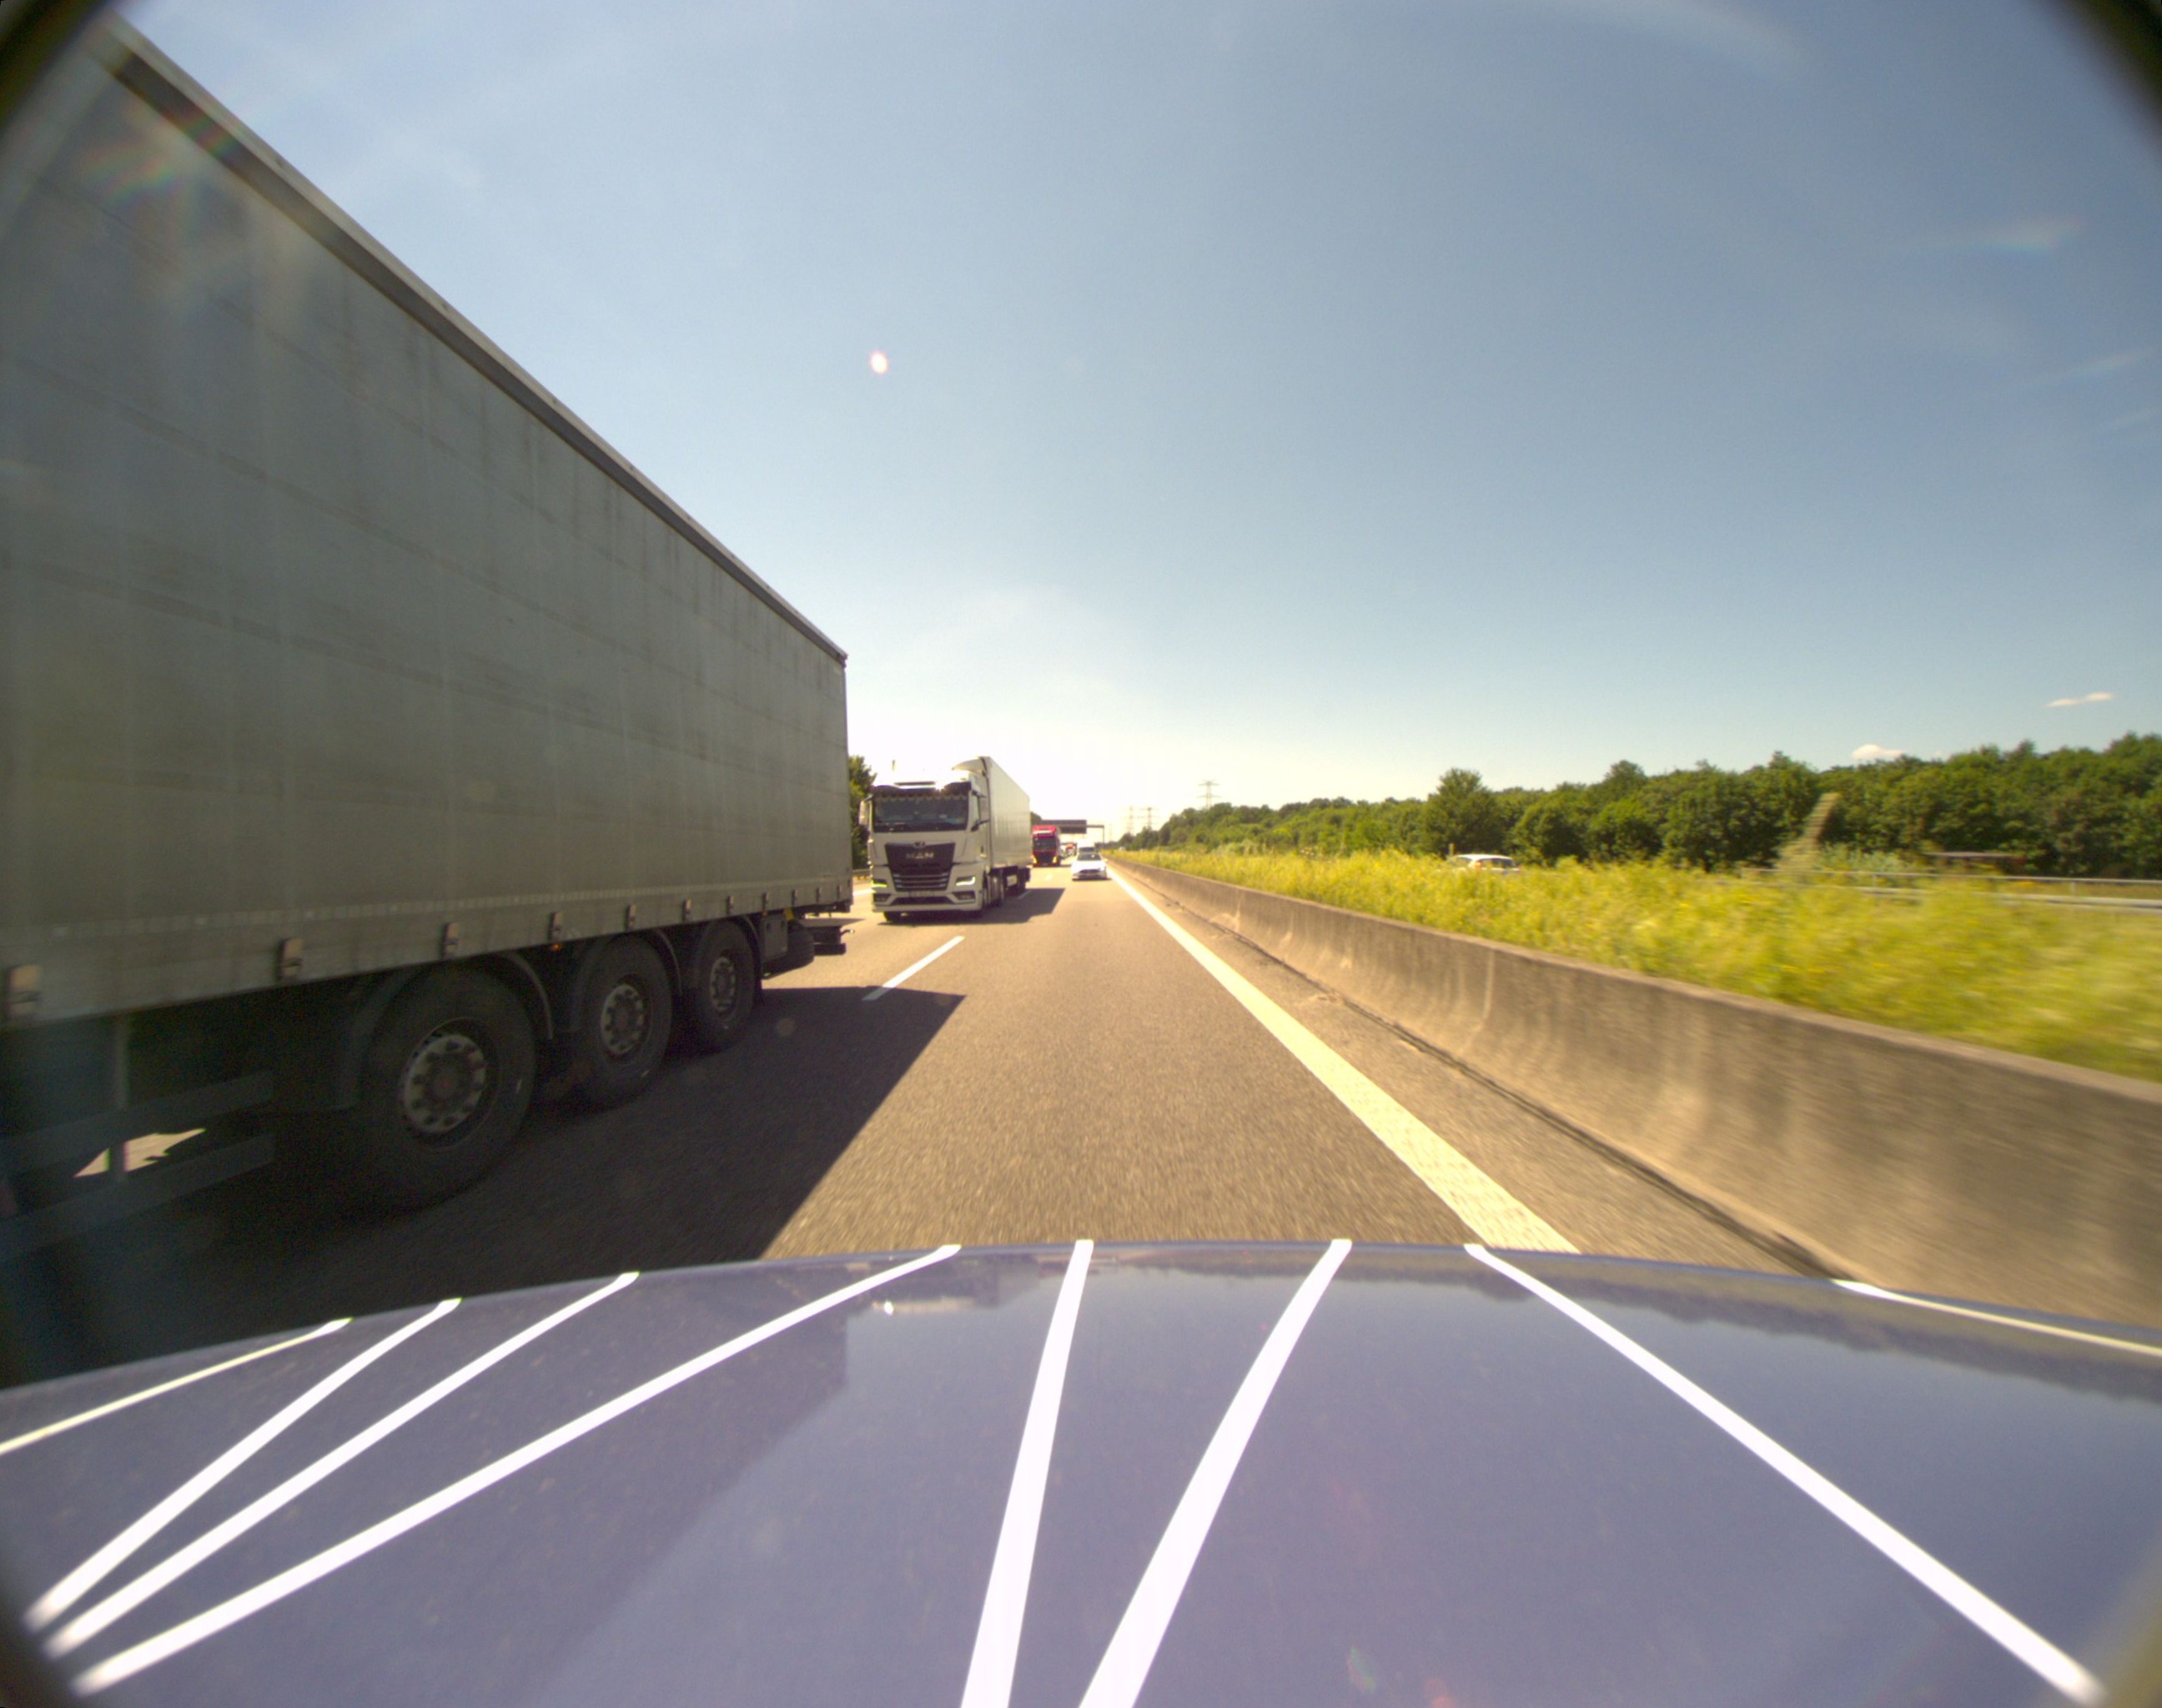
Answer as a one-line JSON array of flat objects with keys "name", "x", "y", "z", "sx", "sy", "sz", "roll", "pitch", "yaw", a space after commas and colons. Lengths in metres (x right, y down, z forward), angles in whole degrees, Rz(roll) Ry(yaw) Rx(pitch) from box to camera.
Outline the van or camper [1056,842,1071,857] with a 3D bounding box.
[{"name": "van or camper", "x": -3.061, "y": -0.735, "z": 134.369, "sx": 2.412, "sy": 2.483, "sz": 6.431, "roll": -1, "pitch": 0, "yaw": -1}]

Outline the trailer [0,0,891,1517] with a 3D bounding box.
[{"name": "trailer", "x": -4.016, "y": -0.398, "z": 2.755, "sx": 2.714, "sy": 4.045, "sz": 14.743, "roll": -2, "pitch": 1, "yaw": 0}]

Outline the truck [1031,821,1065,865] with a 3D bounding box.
[{"name": "truck", "x": -3.148, "y": -1.051, "z": 73.962, "sx": 2.948, "sy": 3.963, "sz": 6.100, "roll": -2, "pitch": 1, "yaw": -1}]

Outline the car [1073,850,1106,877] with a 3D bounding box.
[{"name": "car", "x": 0.471, "y": 0.535, "z": 44.576, "sx": 1.788, "sy": 1.462, "sz": 3.999, "roll": -1, "pitch": 0, "yaw": -1}]

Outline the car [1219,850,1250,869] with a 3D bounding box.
[{"name": "car", "x": 14.824, "y": 0.530, "z": 73.658, "sx": 1.937, "sy": 1.738, "sz": 4.487, "roll": 0, "pitch": 0, "yaw": -2}]

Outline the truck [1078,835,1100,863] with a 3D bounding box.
[{"name": "truck", "x": 0.867, "y": -0.538, "z": 82.802, "sx": 2.192, "sy": 2.841, "sz": 5.503, "roll": -2, "pitch": 0, "yaw": -1}]

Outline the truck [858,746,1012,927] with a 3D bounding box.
[{"name": "truck", "x": -3.523, "y": -0.404, "z": 19.962, "sx": 2.807, "sy": 3.984, "sz": 6.019, "roll": -1, "pitch": 1, "yaw": 0}]

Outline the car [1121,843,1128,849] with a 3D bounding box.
[{"name": "car", "x": 14.939, "y": -2.646, "z": 261.125, "sx": 1.998, "sy": 2.002, "sz": 6.555, "roll": -3, "pitch": 0, "yaw": 0}]

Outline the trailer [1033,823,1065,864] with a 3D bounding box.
[{"name": "trailer", "x": -3.299, "y": -1.136, "z": 83.272, "sx": 2.945, "sy": 3.994, "sz": 16.196, "roll": -2, "pitch": 1, "yaw": -1}]

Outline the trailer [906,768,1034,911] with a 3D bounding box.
[{"name": "trailer", "x": -3.549, "y": -0.460, "z": 27.901, "sx": 2.802, "sy": 4.012, "sz": 12.565, "roll": -1, "pitch": 0, "yaw": 0}]

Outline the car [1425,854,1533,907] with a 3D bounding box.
[{"name": "car", "x": 13.551, "y": 0.849, "z": 26.155, "sx": 1.653, "sy": 1.635, "sz": 4.000, "roll": 0, "pitch": 1, "yaw": 1}]
